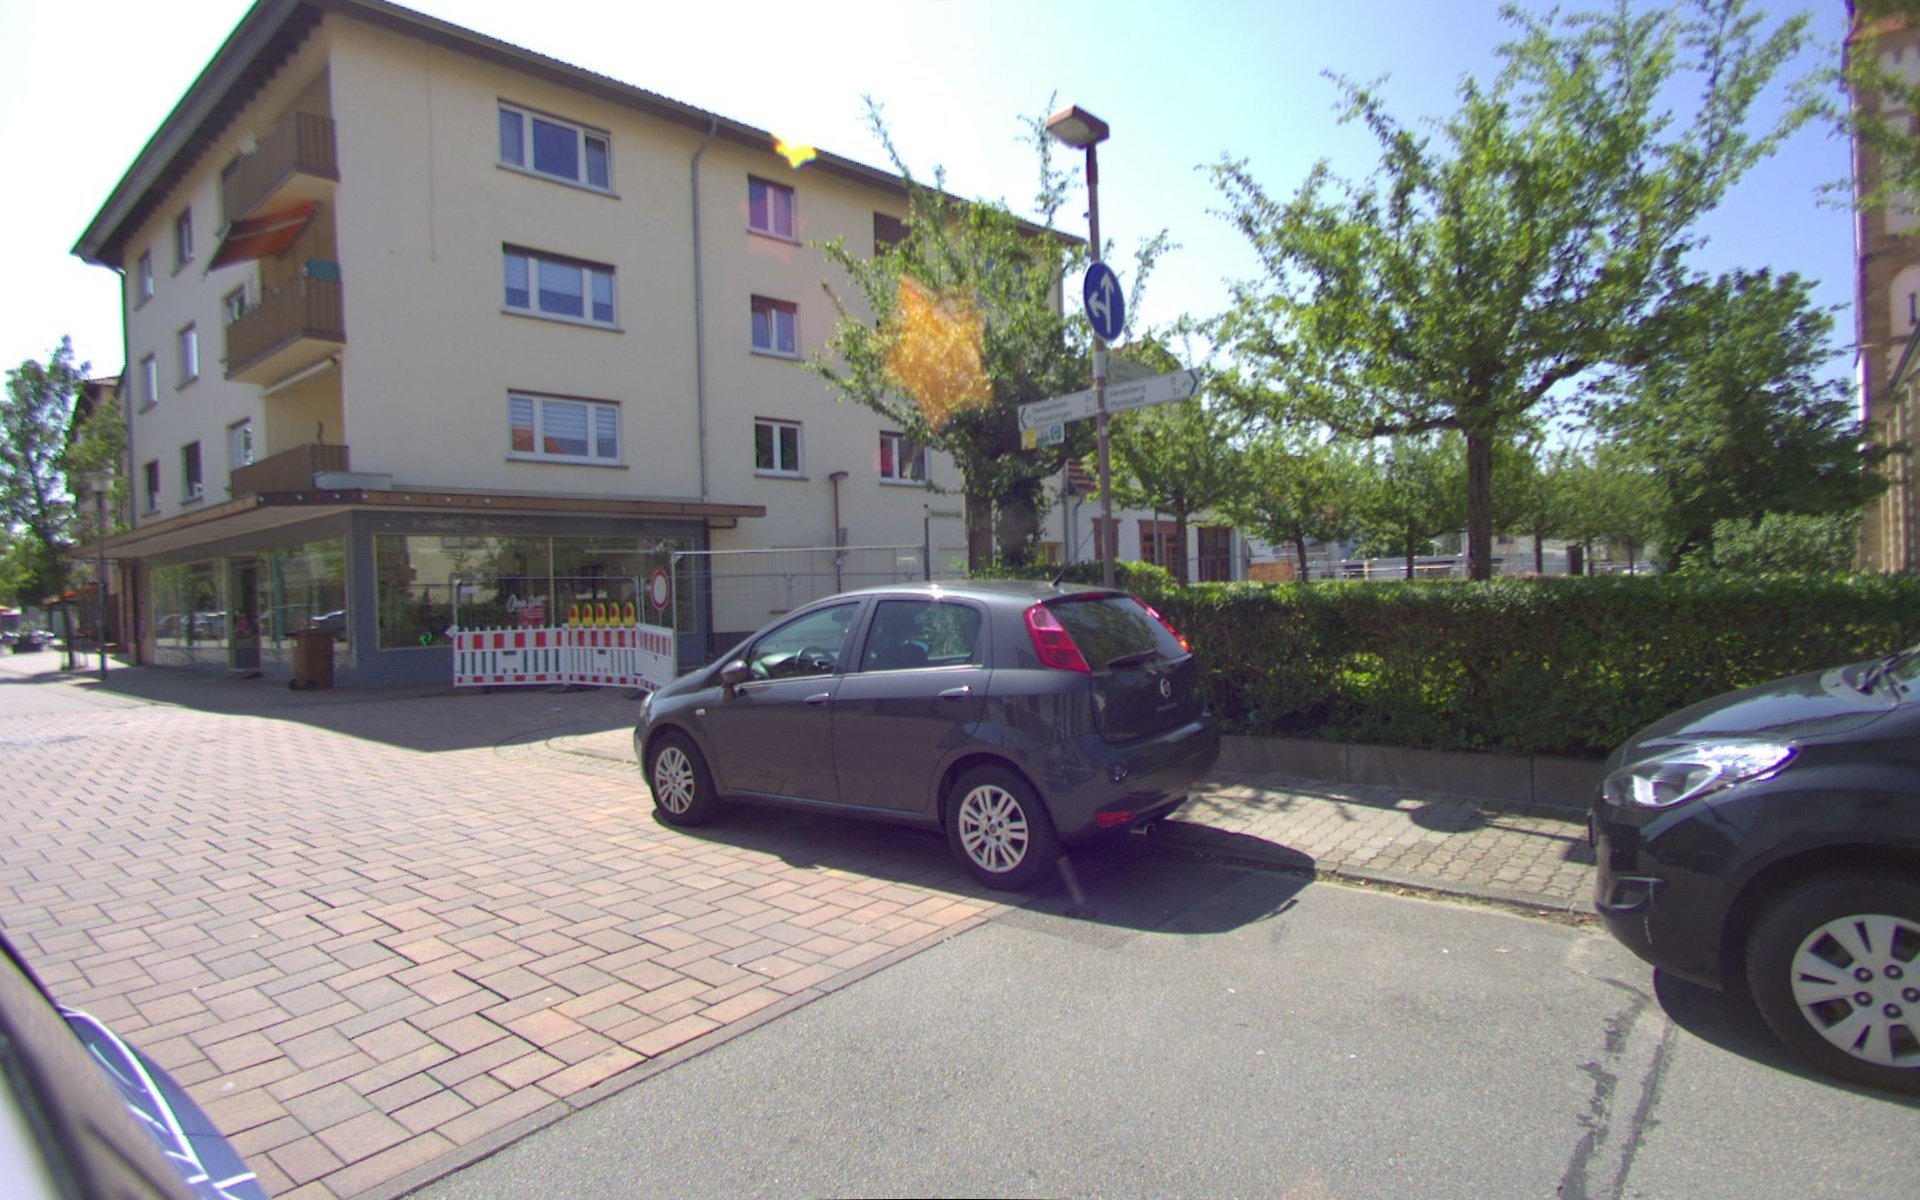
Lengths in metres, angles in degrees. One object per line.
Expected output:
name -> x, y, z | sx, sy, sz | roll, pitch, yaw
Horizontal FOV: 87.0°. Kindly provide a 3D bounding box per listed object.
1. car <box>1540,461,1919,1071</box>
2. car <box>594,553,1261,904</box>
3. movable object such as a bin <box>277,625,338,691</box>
car -> 3.974, 0.390, 2.591 | 4.023, 1.617, 1.796 | -2, 1, 42
car -> -0.358, 0.576, 6.187 | 3.850, 1.508, 1.687 | -2, 0, 37
movable object such as a bin -> -11.405, 1.001, 17.687 | 0.662, 1.078, 0.649 | -2, 1, 34
